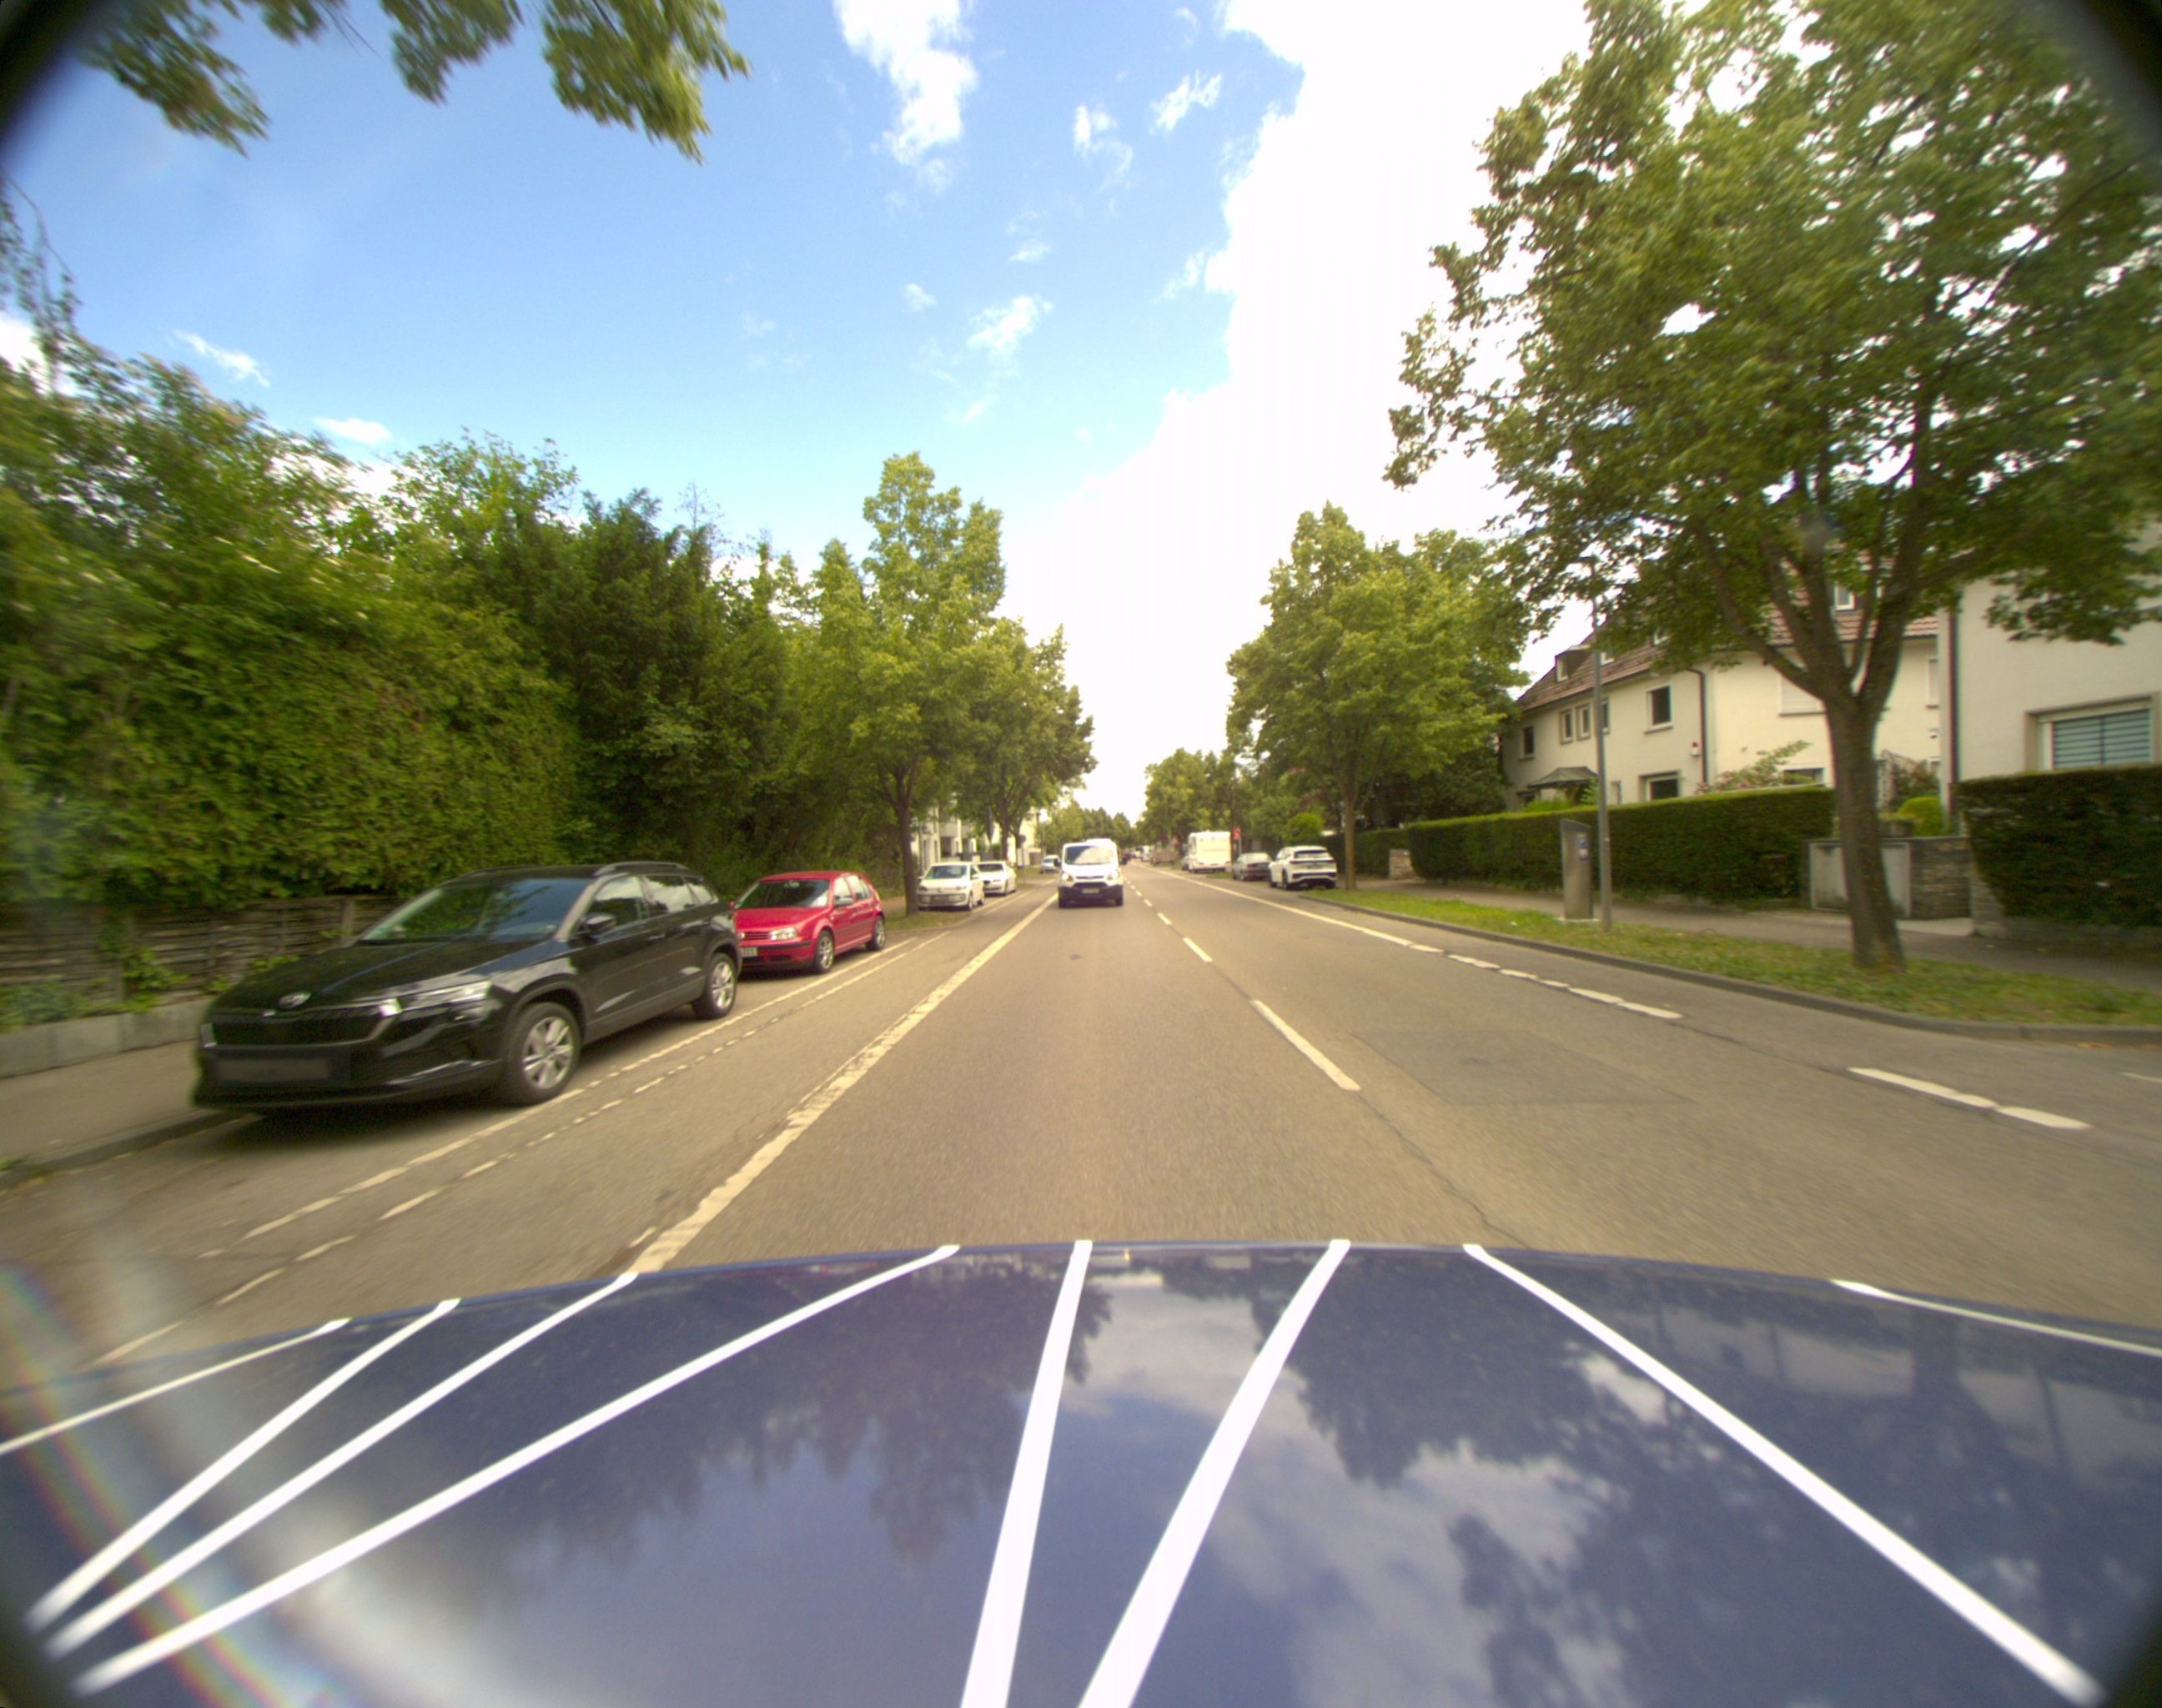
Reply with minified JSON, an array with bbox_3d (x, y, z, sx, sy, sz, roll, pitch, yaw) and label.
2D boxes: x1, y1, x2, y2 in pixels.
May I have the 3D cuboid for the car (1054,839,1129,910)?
[{"bbox_3d":[0.473,0.580,24.738,1.998,2.002,5.320,-2,0,5],"label":"car"}]

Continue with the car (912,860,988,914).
[{"bbox_3d":[-4.002,0.978,23.802,1.619,1.451,3.657,-2,0,2],"label":"car"}]

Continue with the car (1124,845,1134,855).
[{"bbox_3d":[9.338,-0.844,148.777,1.764,1.793,4.769,-2,0,2],"label":"car"}]

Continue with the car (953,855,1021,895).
[{"bbox_3d":[-3.874,0.835,32.254,2.025,1.435,5.025,-2,0,2],"label":"car"}]

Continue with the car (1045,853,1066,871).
[{"bbox_3d":[-2.303,0.702,69.980,1.691,1.484,4.227,-2,1,1],"label":"car"}]

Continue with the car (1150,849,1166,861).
[{"bbox_3d":[10.921,0.105,107.782,1.864,1.544,4.619,-2,2,2],"label":"car"}]

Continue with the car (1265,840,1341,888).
[{"bbox_3d":[8.554,0.351,29.716,1.821,1.642,4.700,-2,0,4],"label":"car"}]

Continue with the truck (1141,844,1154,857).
[{"bbox_3d":[12.937,-0.729,147.707,2.299,2.274,6.466,-2,1,7],"label":"truck"}]

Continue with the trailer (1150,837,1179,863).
[{"bbox_3d":[10.167,-0.555,93.272,2.680,2.924,7.474,-3,1,1],"label":"trailer"}]

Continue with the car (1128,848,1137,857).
[{"bbox_3d":[12.595,-0.363,185.118,1.997,2.002,4.002,-2,0,7],"label":"car"}]

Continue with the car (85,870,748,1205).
[{"bbox_3d":[-4.448,1.027,6.140,1.642,1.606,4.169,-2,0,-1],"label":"car"}]

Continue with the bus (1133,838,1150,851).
[{"bbox_3d":[17.324,-2.745,215.144,2.809,3.270,18.057,3,1,10],"label":"bus"}]

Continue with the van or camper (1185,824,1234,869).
[{"bbox_3d":[9.306,-0.527,55.713,2.441,2.992,7.693,-2,0,2],"label":"van or camper"}]

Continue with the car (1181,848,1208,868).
[{"bbox_3d":[9.522,0.285,64.169,1.726,1.591,4.272,-2,0,2],"label":"car"}]

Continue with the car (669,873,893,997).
[{"bbox_3d":[-4.337,1.092,11.717,1.642,1.412,4.001,-2,0,3],"label":"car"}]

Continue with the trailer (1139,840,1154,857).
[{"bbox_3d":[12.203,-1.015,141.010,2.377,2.946,7.013,-2,1,7],"label":"trailer"}]

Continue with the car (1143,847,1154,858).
[{"bbox_3d":[11.987,-0.295,134.462,1.693,1.674,4.225,-2,1,3],"label":"car"}]

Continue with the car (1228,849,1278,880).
[{"bbox_3d":[8.935,0.492,39.718,1.559,1.461,4.451,-2,0,0],"label":"car"}]

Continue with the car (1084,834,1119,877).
[{"bbox_3d":[1.399,0.099,49.896,1.998,2.584,4.001,-3,0,4],"label":"car"}]
